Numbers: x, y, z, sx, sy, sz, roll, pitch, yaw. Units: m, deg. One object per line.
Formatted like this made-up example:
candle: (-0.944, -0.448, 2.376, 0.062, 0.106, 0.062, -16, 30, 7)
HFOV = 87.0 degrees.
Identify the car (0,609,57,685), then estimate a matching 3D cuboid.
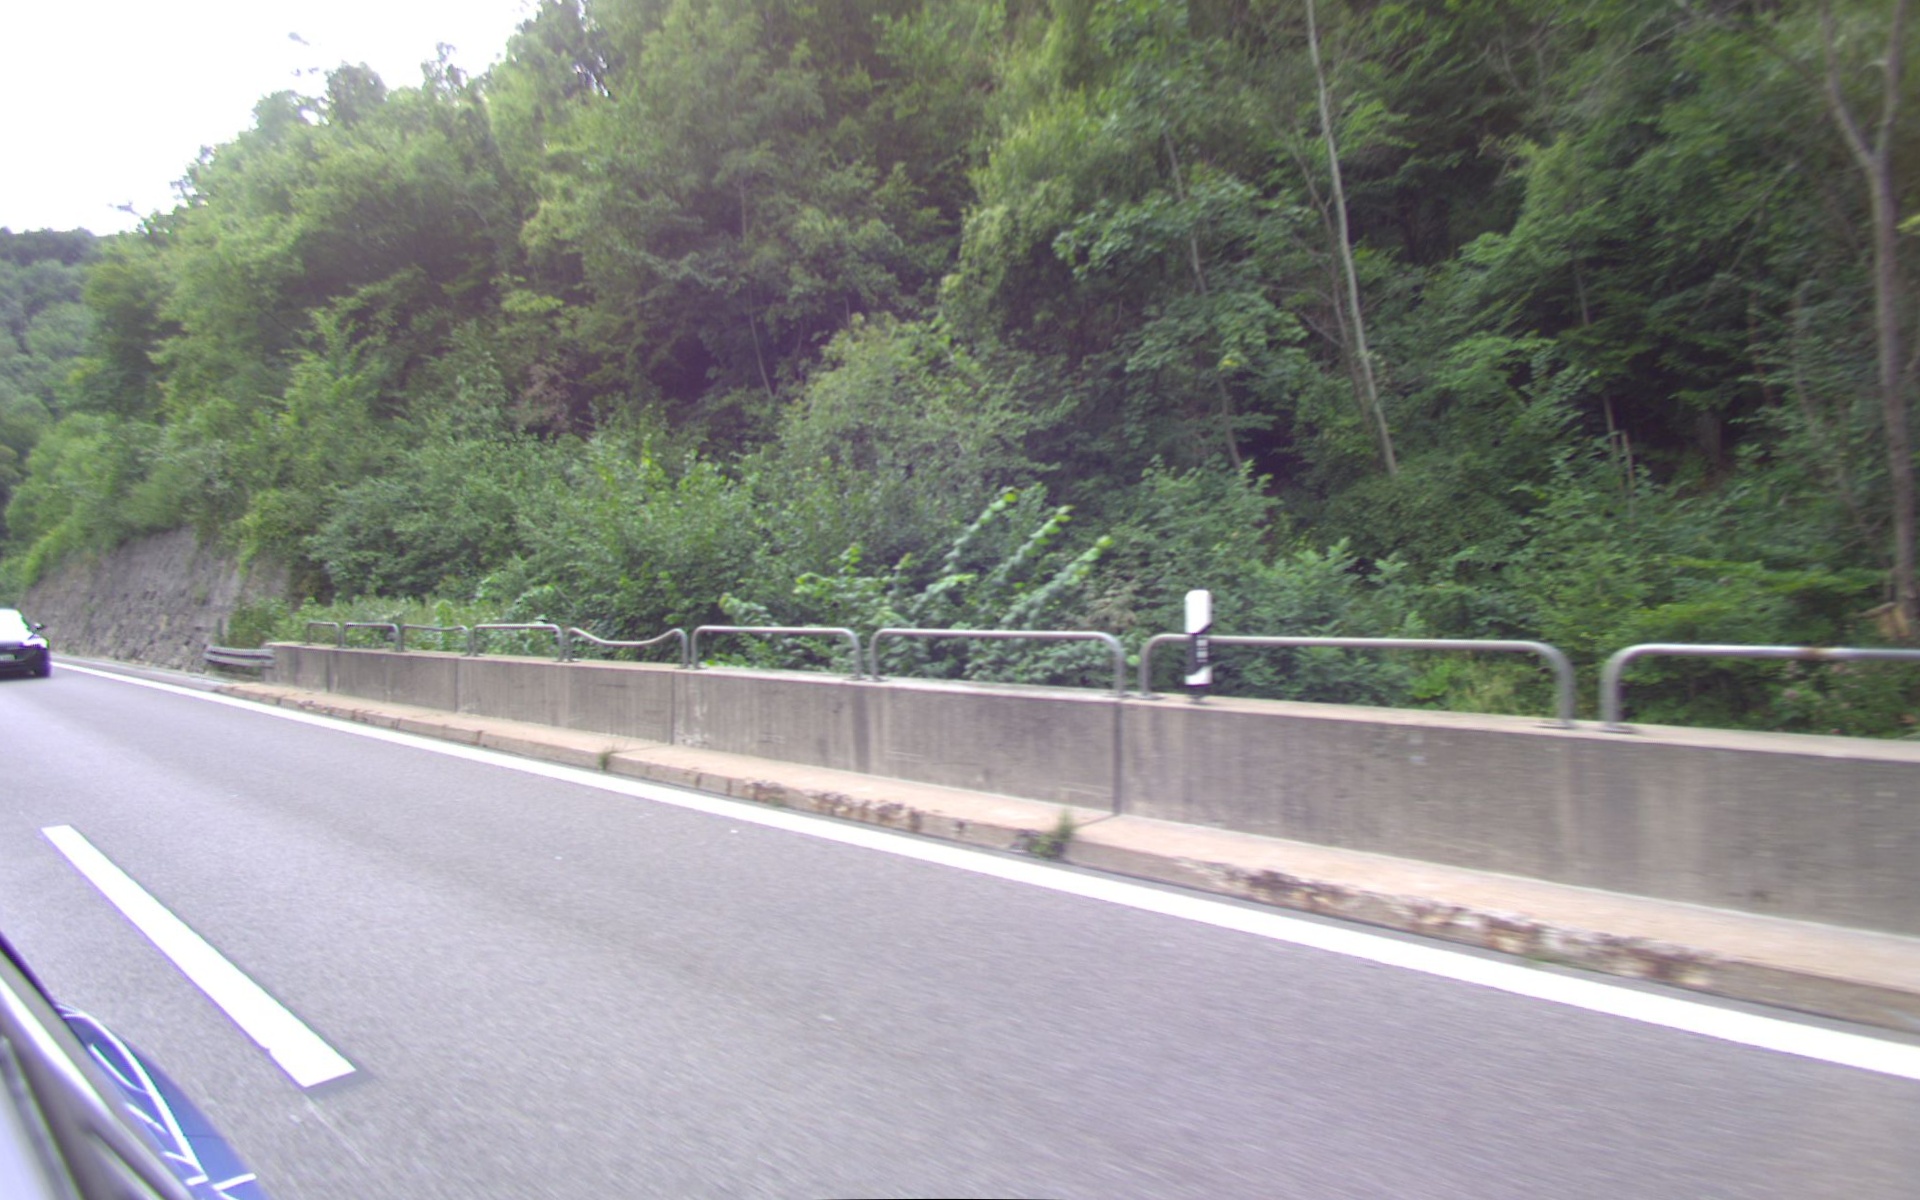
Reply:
car: (-23.196, 1.099, 24.057, 5.006, 1.644, 1.973, -1, 1, 41)
